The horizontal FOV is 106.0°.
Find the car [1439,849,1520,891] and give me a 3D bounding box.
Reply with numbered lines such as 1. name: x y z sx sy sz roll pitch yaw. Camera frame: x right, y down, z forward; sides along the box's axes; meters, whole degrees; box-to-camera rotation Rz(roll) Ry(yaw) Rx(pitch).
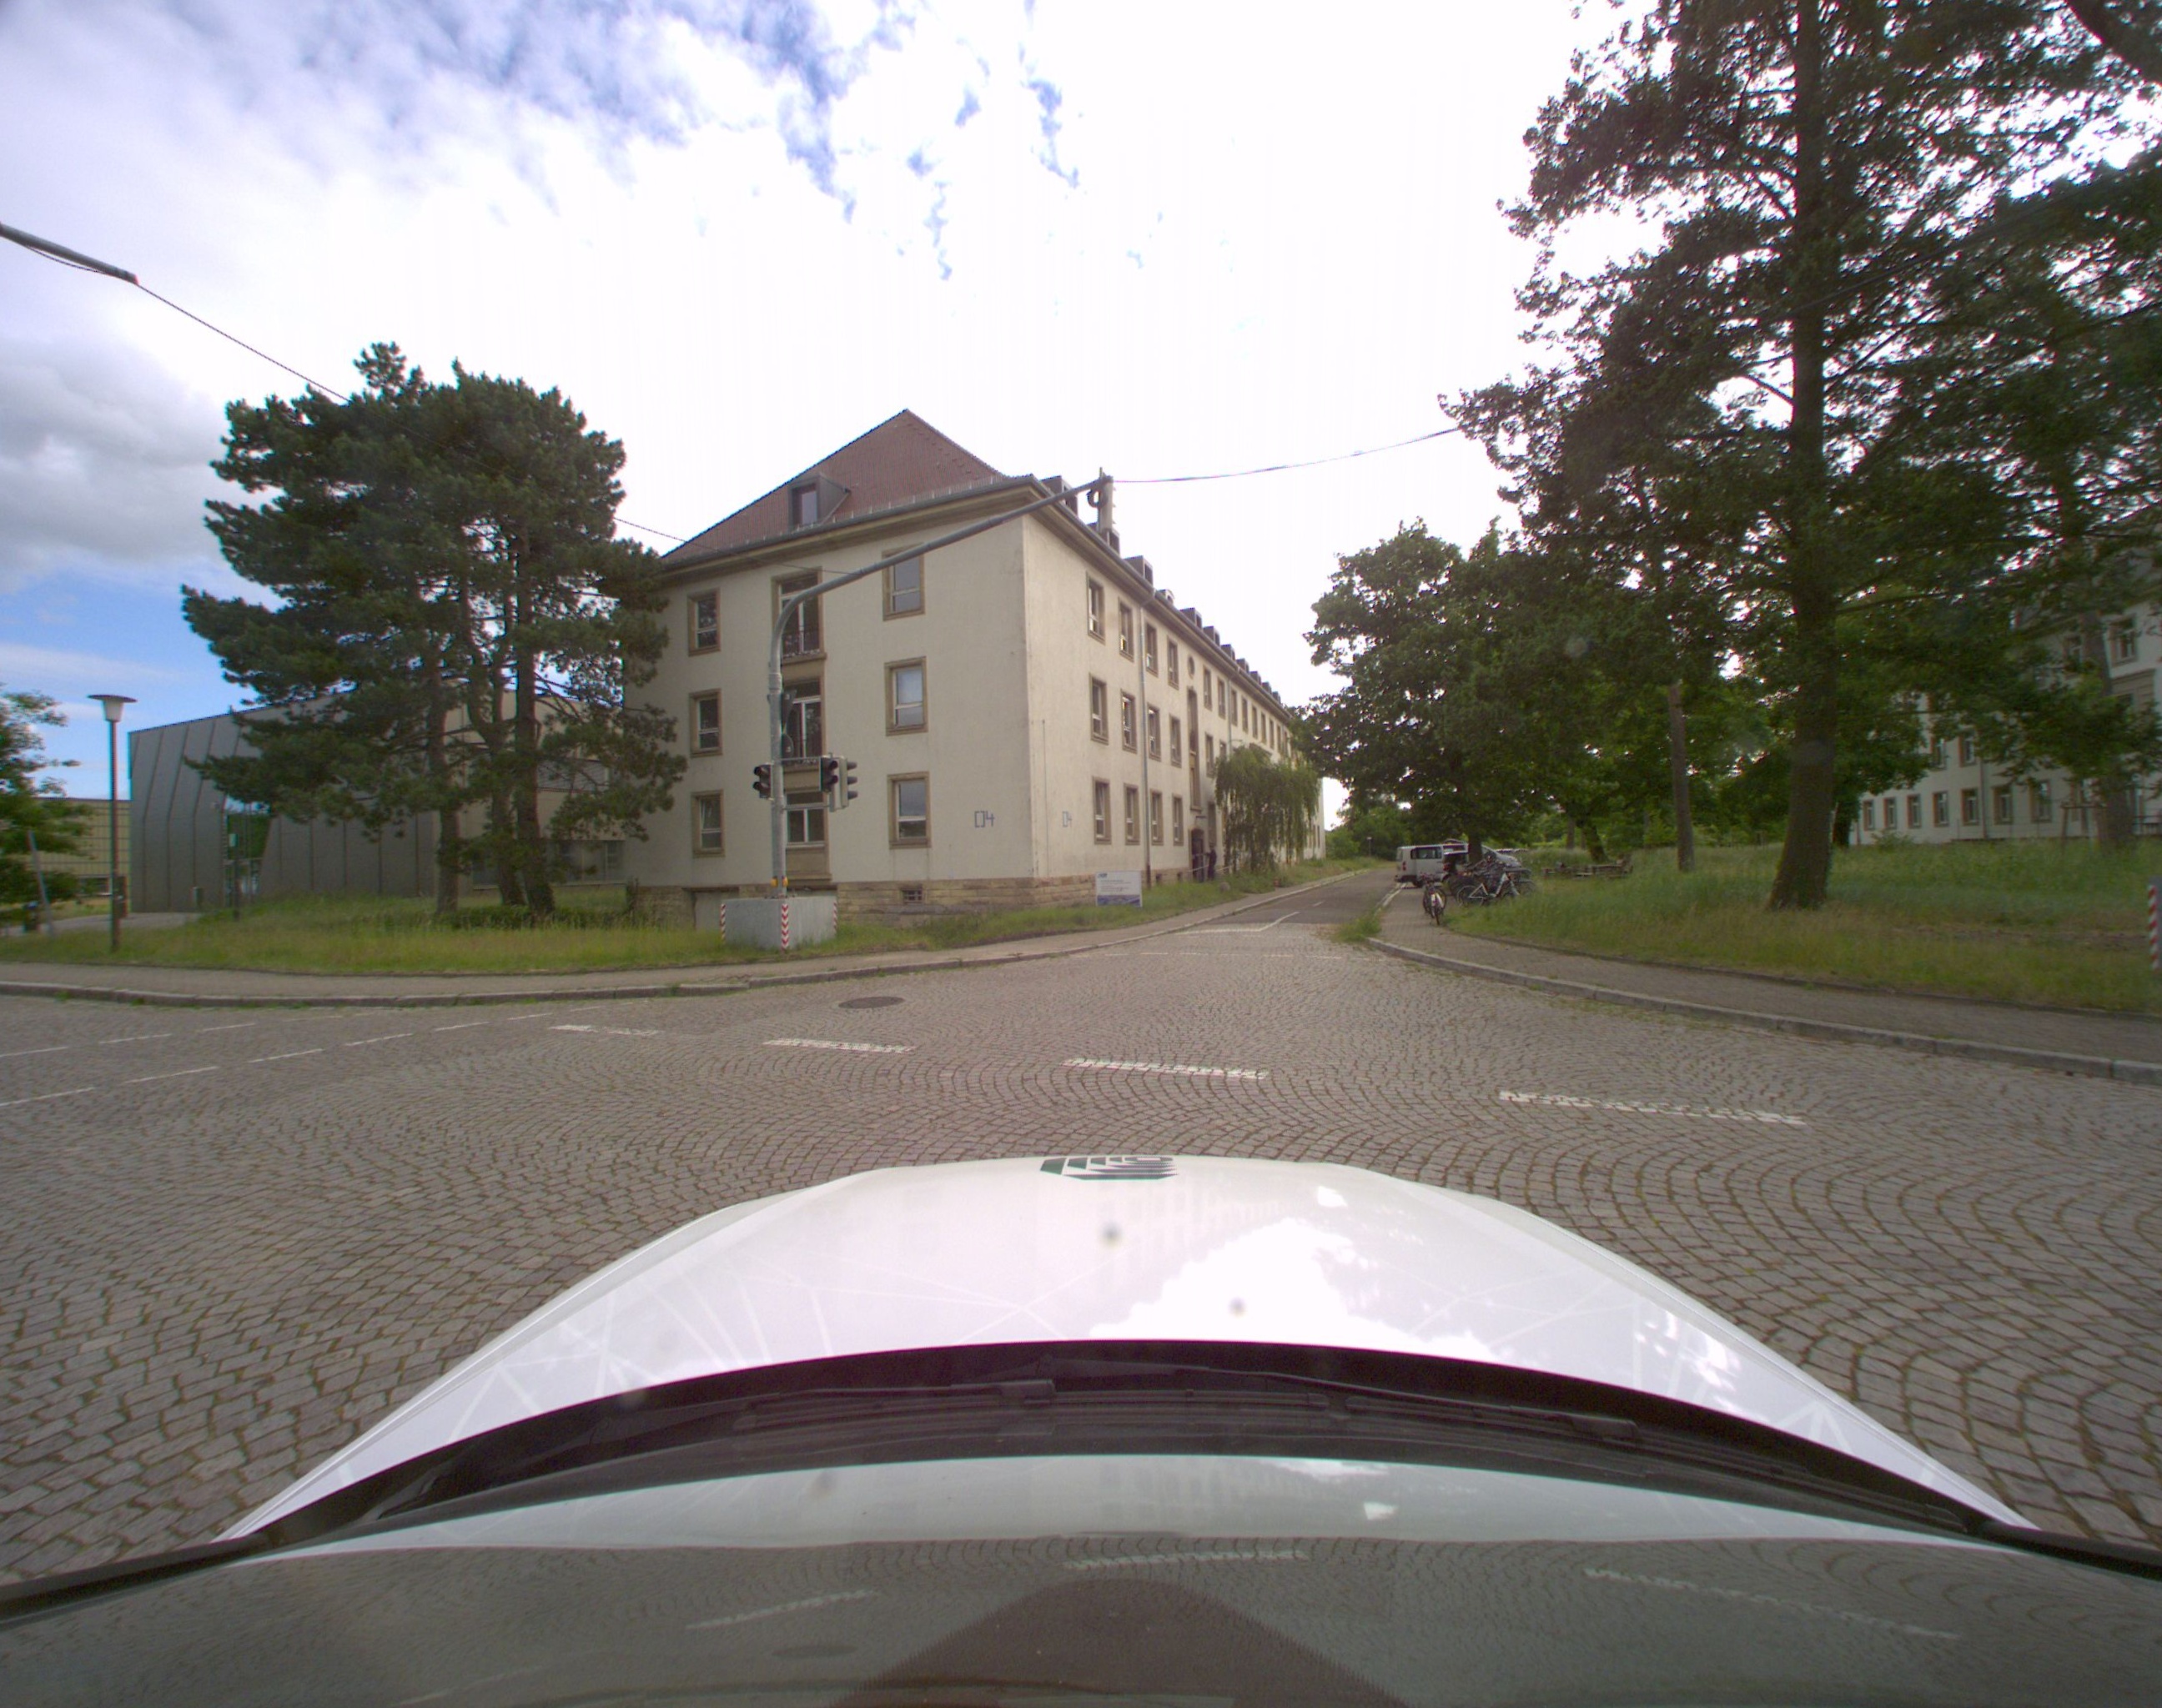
1. car: 16.152 0.637 33.134 2.822 1.558 1.480 -3 0 23

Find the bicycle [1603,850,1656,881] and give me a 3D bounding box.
1. bicycle: 20.300 0.425 30.159 1.535 1.125 0.403 -2 -1 25

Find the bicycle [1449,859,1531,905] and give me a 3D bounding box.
1. bicycle: 11.302 0.764 22.548 1.965 1.248 0.627 -1 -1 22

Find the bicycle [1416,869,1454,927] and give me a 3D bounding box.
1. bicycle: 7.477 0.893 17.169 0.616 1.113 2.001 -1 -1 26

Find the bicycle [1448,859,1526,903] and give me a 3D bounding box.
1. bicycle: 11.636 0.768 23.403 1.965 1.248 0.627 -1 -1 22

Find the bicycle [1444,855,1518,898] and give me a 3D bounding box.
1. bicycle: 12.547 0.712 25.593 1.965 1.248 0.627 -4 -2 22

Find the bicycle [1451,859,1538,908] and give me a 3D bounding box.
1. bicycle: 10.712 0.759 21.168 1.965 1.248 0.627 -1 -1 22

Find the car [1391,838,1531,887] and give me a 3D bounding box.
1. car: 16.961 0.402 36.595 5.273 1.916 2.155 -2 -1 9

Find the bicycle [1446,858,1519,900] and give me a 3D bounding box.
1. bicycle: 12.290 0.774 24.981 1.965 1.248 0.627 -1 -1 22

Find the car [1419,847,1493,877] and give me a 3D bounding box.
1. car: 22.654 0.496 49.349 3.996 1.718 1.690 -2 -1 22

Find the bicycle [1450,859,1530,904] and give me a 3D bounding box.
1. bicycle: 11.522 0.766 23.028 1.965 1.248 0.627 -1 -1 22

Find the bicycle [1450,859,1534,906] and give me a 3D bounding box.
1. bicycle: 11.048 0.762 21.964 1.965 1.248 0.627 -1 -1 22

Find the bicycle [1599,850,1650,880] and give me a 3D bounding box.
1. bicycle: 20.854 0.426 31.268 1.535 1.125 0.403 -2 -1 25

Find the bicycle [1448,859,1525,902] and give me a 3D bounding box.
1. bicycle: 11.930 0.770 24.033 1.965 1.248 0.627 -1 -1 22

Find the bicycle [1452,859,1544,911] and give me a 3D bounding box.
1. bicycle: 10.361 0.756 20.305 1.965 1.248 0.627 -1 -1 22

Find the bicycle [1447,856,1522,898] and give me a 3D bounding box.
1. bicycle: 12.110 0.693 24.518 1.965 1.248 0.627 -1 -1 22

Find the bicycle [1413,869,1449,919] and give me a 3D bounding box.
1. bicycle: 8.184 0.916 19.004 0.616 1.082 1.688 -1 -1 28

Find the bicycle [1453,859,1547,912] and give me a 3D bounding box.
1. bicycle: 10.114 0.753 19.722 1.965 1.248 0.627 -1 -1 22

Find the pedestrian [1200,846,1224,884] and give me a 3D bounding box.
1. pedestrian: 6.265 0.504 38.862 0.829 1.781 0.947 -2 -1 29
